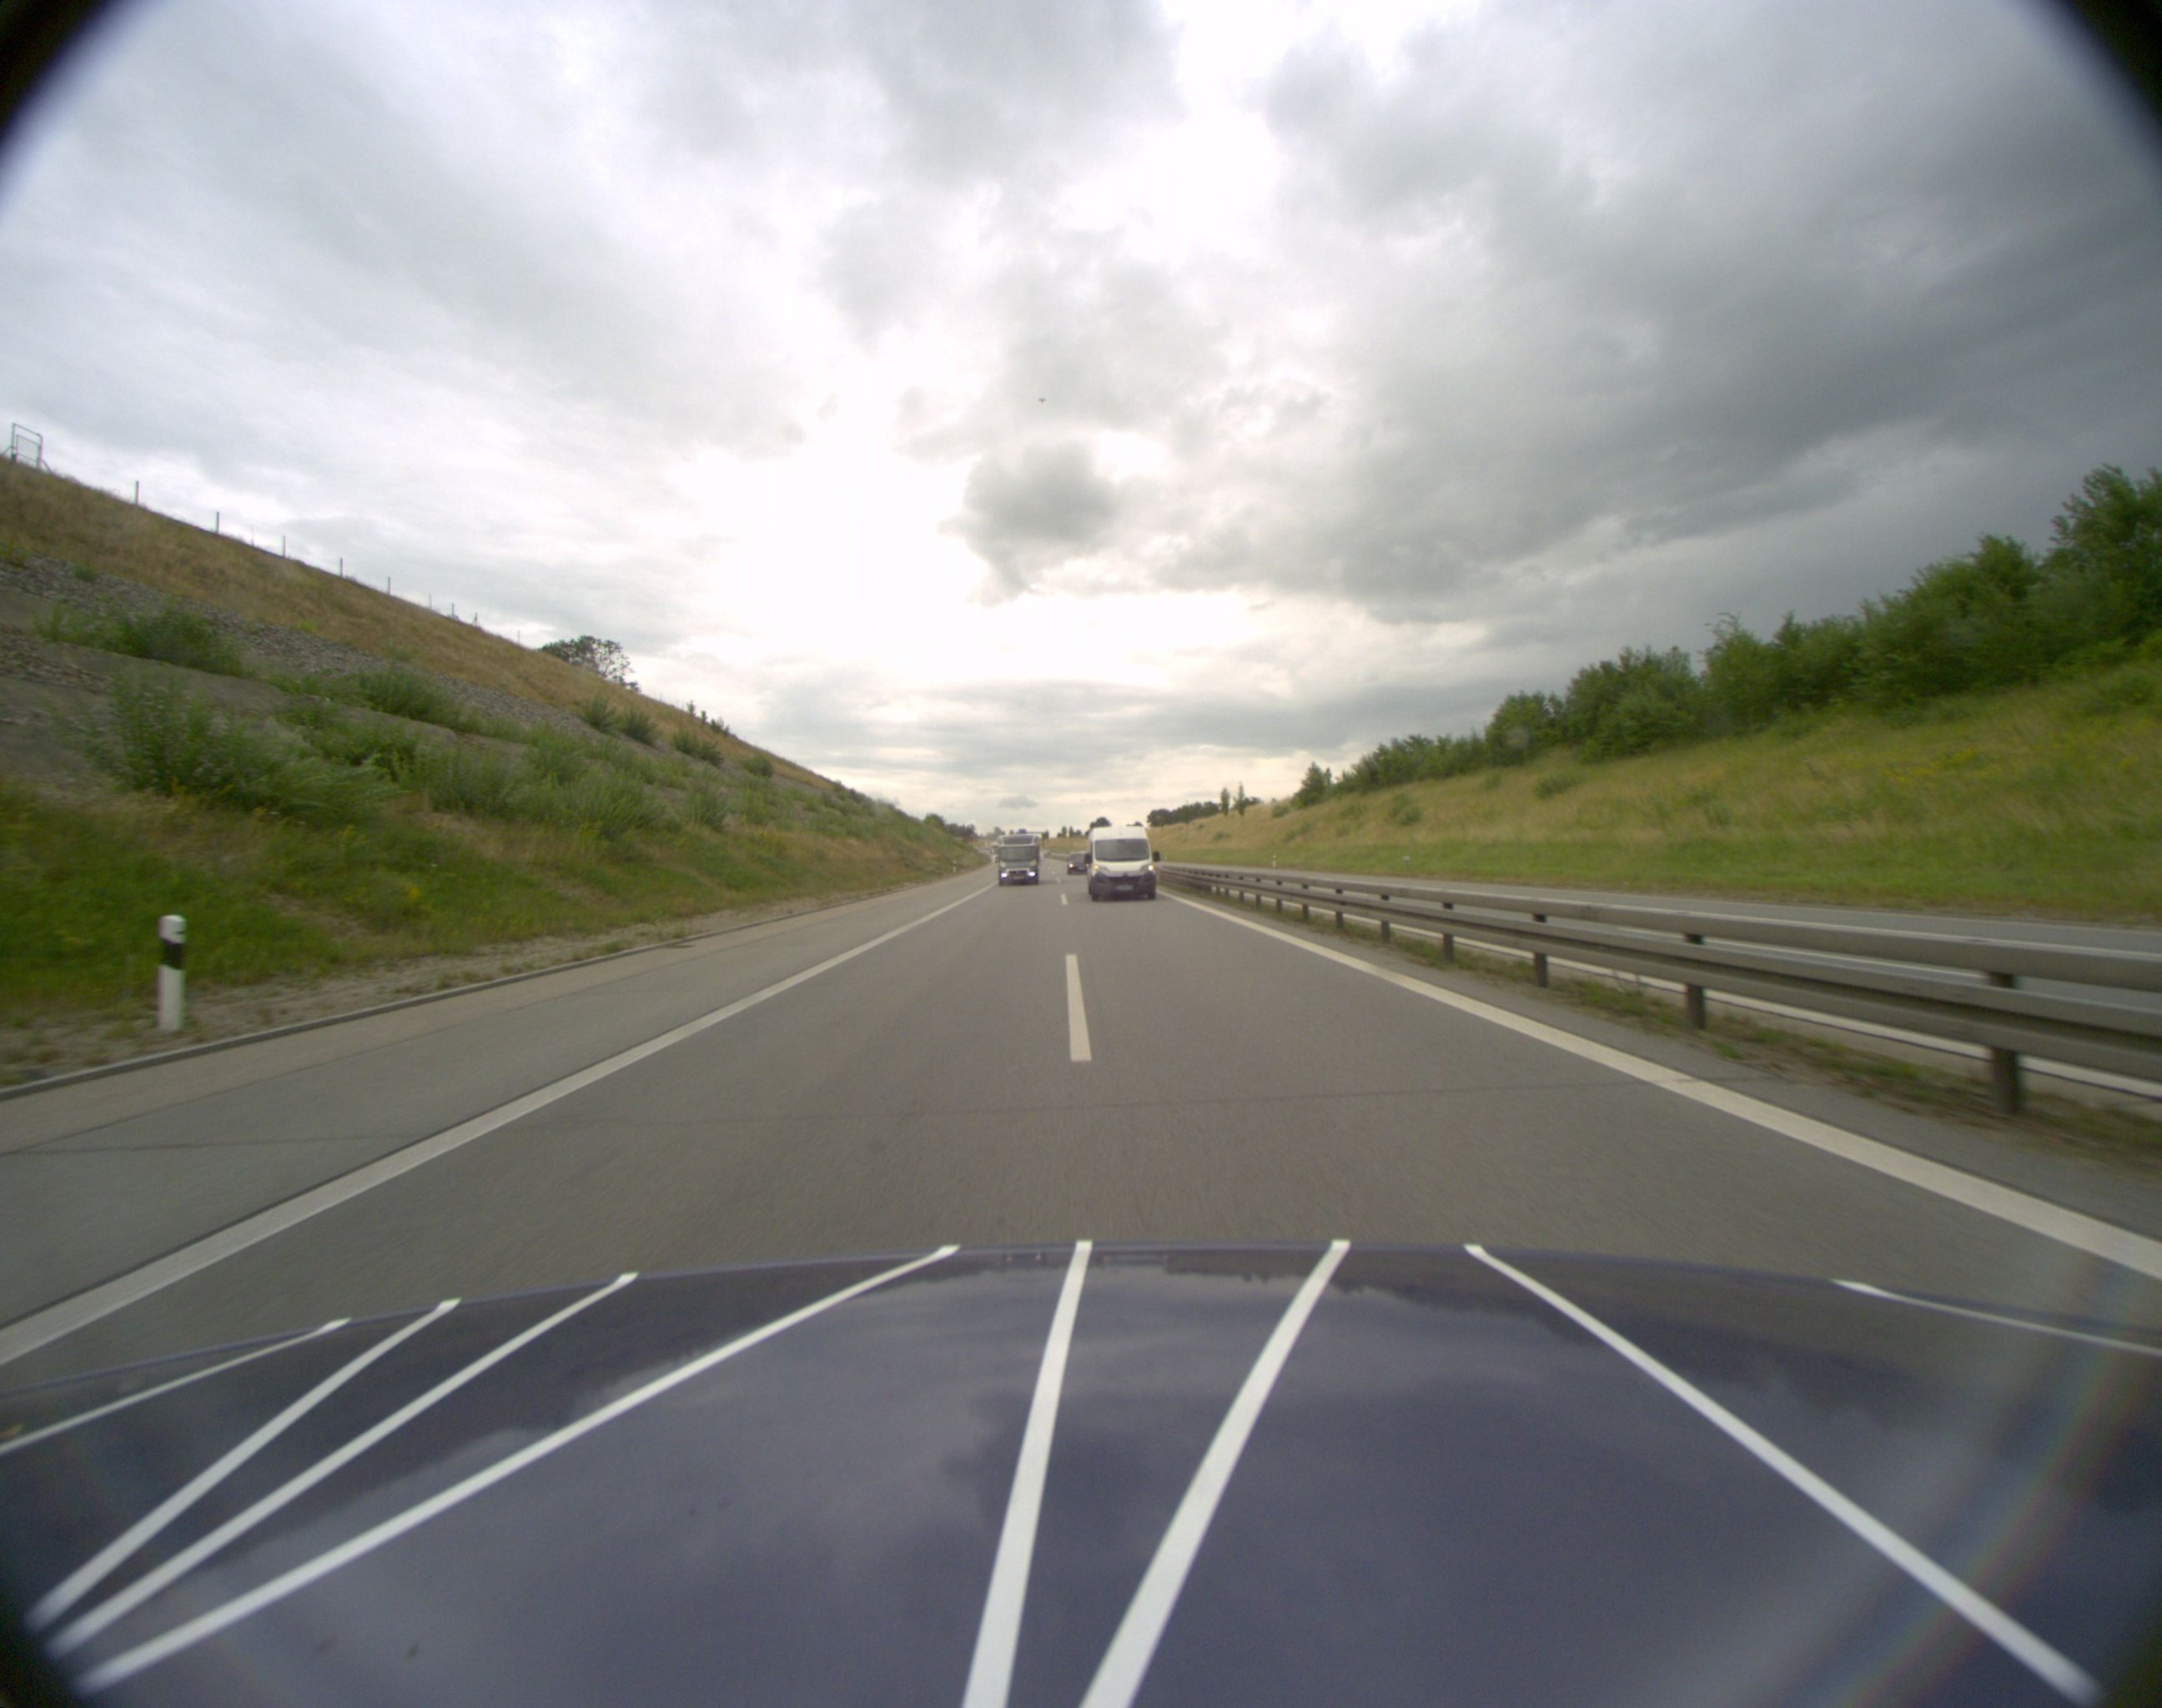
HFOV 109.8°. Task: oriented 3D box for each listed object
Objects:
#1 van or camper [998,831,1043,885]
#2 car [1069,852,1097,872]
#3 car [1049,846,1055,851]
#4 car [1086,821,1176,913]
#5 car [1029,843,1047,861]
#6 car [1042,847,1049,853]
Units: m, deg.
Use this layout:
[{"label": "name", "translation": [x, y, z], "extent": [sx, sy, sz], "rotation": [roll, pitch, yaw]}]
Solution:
[{"label": "van or camper", "translation": [-3.228, 0.162, 41.929], "extent": [2.104, 2.721, 6.900], "rotation": [-1, 1, -2]}, {"label": "car", "translation": [0.123, 0.571, 56.499], "extent": [1.704, 1.432, 3.643], "rotation": [-1, 1, -5]}, {"label": "car", "translation": [-9.277, -1.835, 243.345], "extent": [1.704, 1.432, 3.643], "rotation": [-1, 1, -4]}, {"label": "car", "translation": [1.360, 0.304, 23.361], "extent": [2.132, 2.412, 6.109], "rotation": [-1, 1, -2]}, {"label": "car", "translation": [-5.760, -0.306, 101.619], "extent": [2.290, 2.259, 6.429], "rotation": [-1, 1, -4]}, {"label": "car", "translation": [-10.311, -1.177, 222.096], "extent": [1.704, 1.432, 3.643], "rotation": [-1, 1, -6]}]
